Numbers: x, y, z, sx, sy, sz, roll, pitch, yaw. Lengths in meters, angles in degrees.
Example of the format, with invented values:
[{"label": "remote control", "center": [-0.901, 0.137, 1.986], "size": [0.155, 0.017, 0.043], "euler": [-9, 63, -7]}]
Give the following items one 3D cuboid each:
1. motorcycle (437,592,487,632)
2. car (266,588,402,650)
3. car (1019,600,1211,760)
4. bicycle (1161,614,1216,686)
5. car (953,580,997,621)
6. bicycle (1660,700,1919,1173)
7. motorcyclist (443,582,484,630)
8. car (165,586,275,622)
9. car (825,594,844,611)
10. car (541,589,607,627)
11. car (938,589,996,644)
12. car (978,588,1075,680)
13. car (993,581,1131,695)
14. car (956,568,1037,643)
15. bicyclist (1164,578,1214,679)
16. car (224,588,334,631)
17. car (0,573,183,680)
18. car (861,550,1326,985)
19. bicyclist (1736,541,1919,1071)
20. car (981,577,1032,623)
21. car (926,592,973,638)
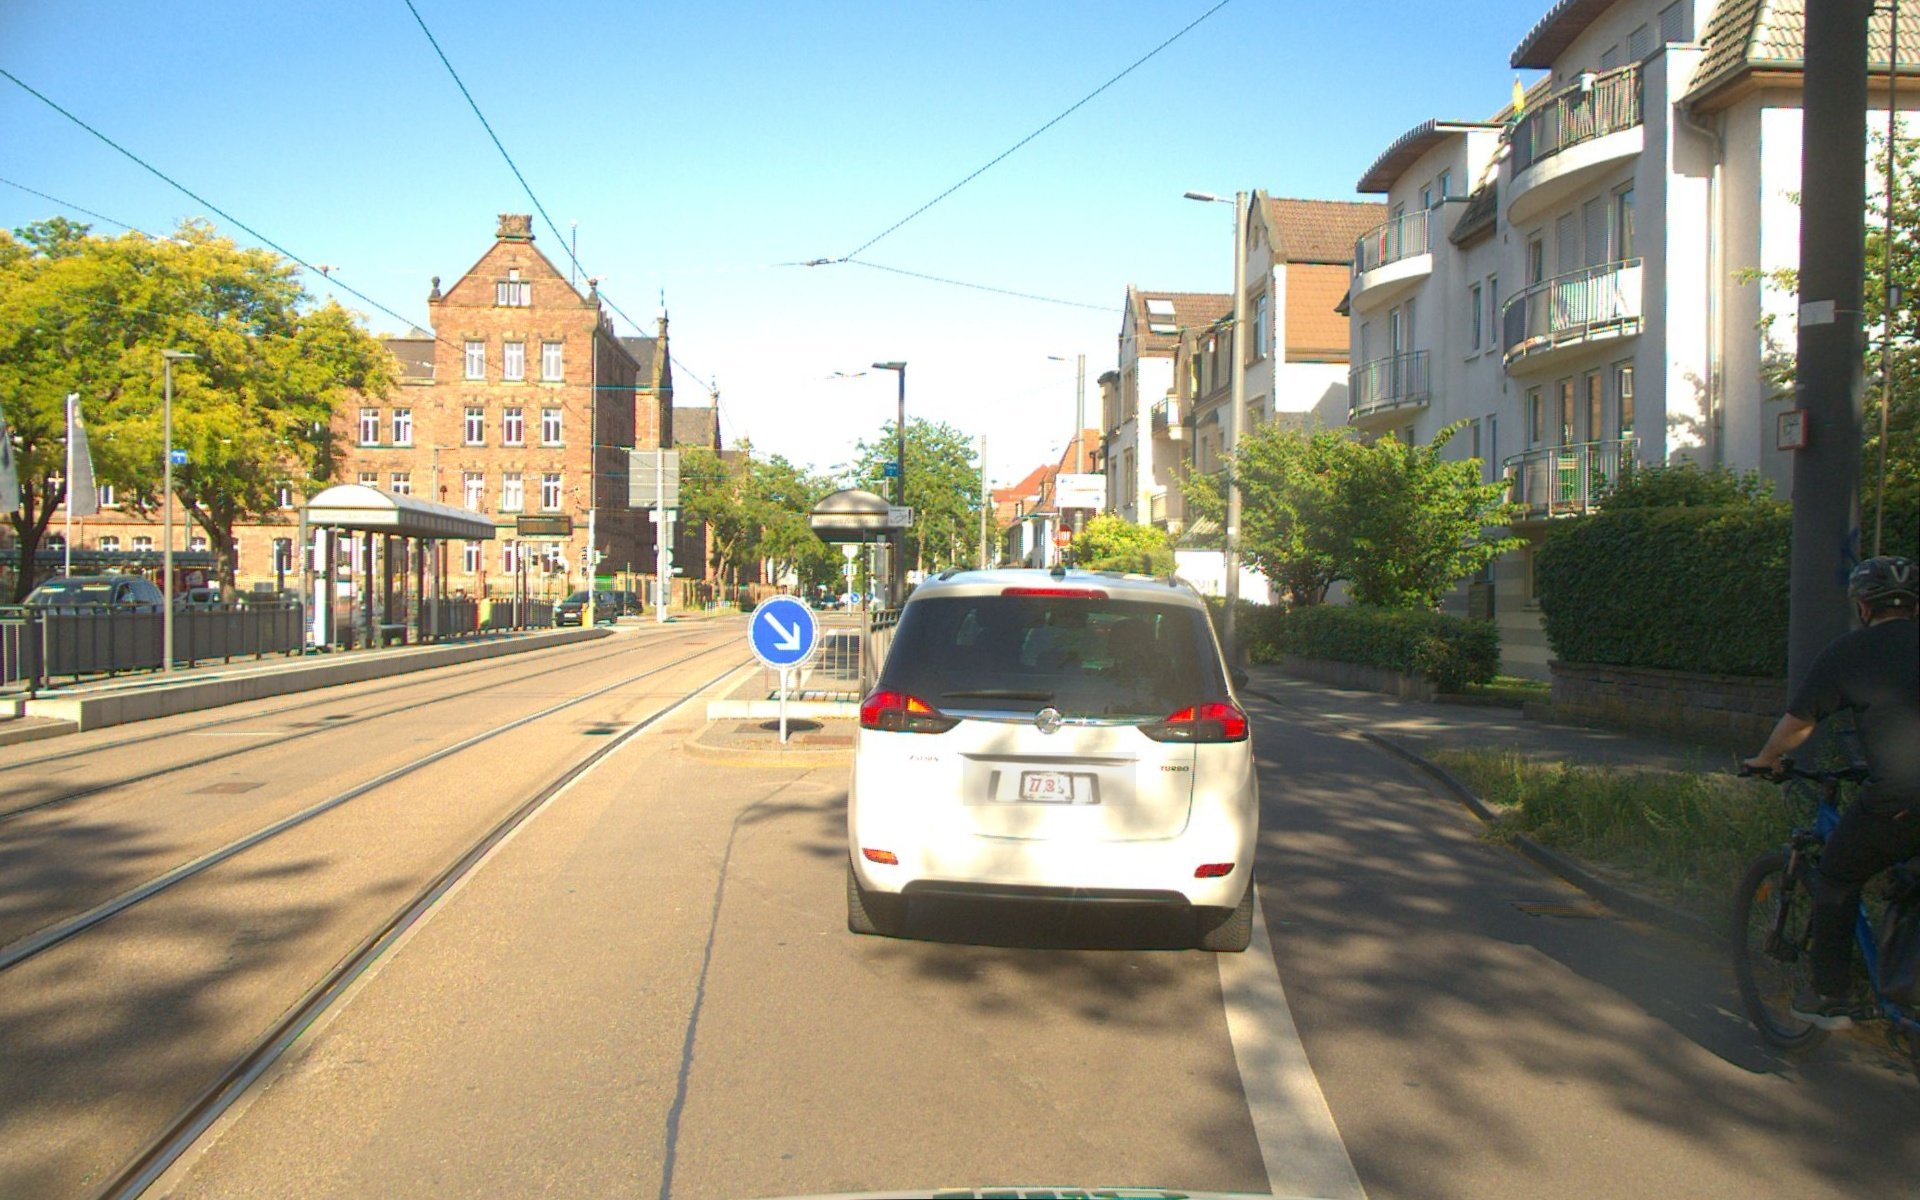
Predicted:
[{"label": "motorcycle", "center": [-16.125, 0.385, 53.638], "size": [1.108, 1.265, 2.569], "euler": [1, 0, -7]}, {"label": "car", "center": [-15.347, 0.434, 40.798], "size": [1.846, 1.440, 4.621], "euler": [0, 0, -4]}, {"label": "car", "center": [1.503, 0.741, 17.221], "size": [1.554, 1.445, 3.899], "euler": [0, 0, -1]}, {"label": "bicycle", "center": [3.846, 0.826, 27.918], "size": [0.671, 1.177, 1.619], "euler": [1, 0, -1]}, {"label": "car", "center": [0.610, 0.032, 70.812], "size": [1.740, 1.660, 3.879], "euler": [1, 0, -1]}, {"label": "bicycle", "center": [3.080, 0.988, 5.349], "size": [0.812, 1.175, 2.095], "euler": [2, 0, 3]}, {"label": "motorcyclist", "center": [-16.130, 0.196, 53.747], "size": [1.103, 1.552, 1.053], "euler": [1, 0, -7]}, {"label": "car", "center": [-32.784, 0.181, 73.343], "size": [3.982, 1.548, 1.877], "euler": [1, 0, -1]}, {"label": "car", "center": [-13.104, 0.278, 173.459], "size": [1.868, 1.706, 4.355], "euler": [1, 0, -3]}, {"label": "car", "center": [-16.559, 0.352, 71.145], "size": [1.953, 1.573, 3.999], "euler": [1, 0, -1]}, {"label": "car", "center": [0.185, 0.507, 51.978], "size": [1.740, 1.660, 3.880], "euler": [1, 0, -1]}, {"label": "car", "center": [1.251, 0.636, 32.461], "size": [1.739, 1.660, 3.880], "euler": [1, 0, 0]}, {"label": "car", "center": [1.549, 0.566, 26.324], "size": [1.740, 1.660, 3.878], "euler": [1, 0, -3]}, {"label": "car", "center": [0.810, 0.132, 39.114], "size": [1.740, 1.660, 3.879], "euler": [1, 0, -1]}, {"label": "bicyclist", "center": [3.852, 0.469, 27.913], "size": [0.671, 1.663, 1.015], "euler": [1, 0, -1]}, {"label": "car", "center": [-28.089, 0.410, 68.292], "size": [3.780, 1.689, 1.750], "euler": [1, 0, -1]}, {"label": "car", "center": [-14.783, 0.407, 27.976], "size": [1.762, 1.666, 4.112], "euler": [-1, 0, -7]}, {"label": "car", "center": [0.442, 0.665, 8.404], "size": [1.798, 1.670, 3.916], "euler": [1, 0, -3]}, {"label": "bicyclist", "center": [3.065, 0.601, 5.231], "size": [0.804, 1.528, 0.934], "euler": [1, 0, 3]}, {"label": "car", "center": [1.752, 0.019, 63.037], "size": [1.740, 1.660, 3.879], "euler": [1, 0, -1]}, {"label": "car", "center": [-0.447, 0.581, 64.410], "size": [1.740, 1.722, 3.879], "euler": [1, 0, -1]}]
